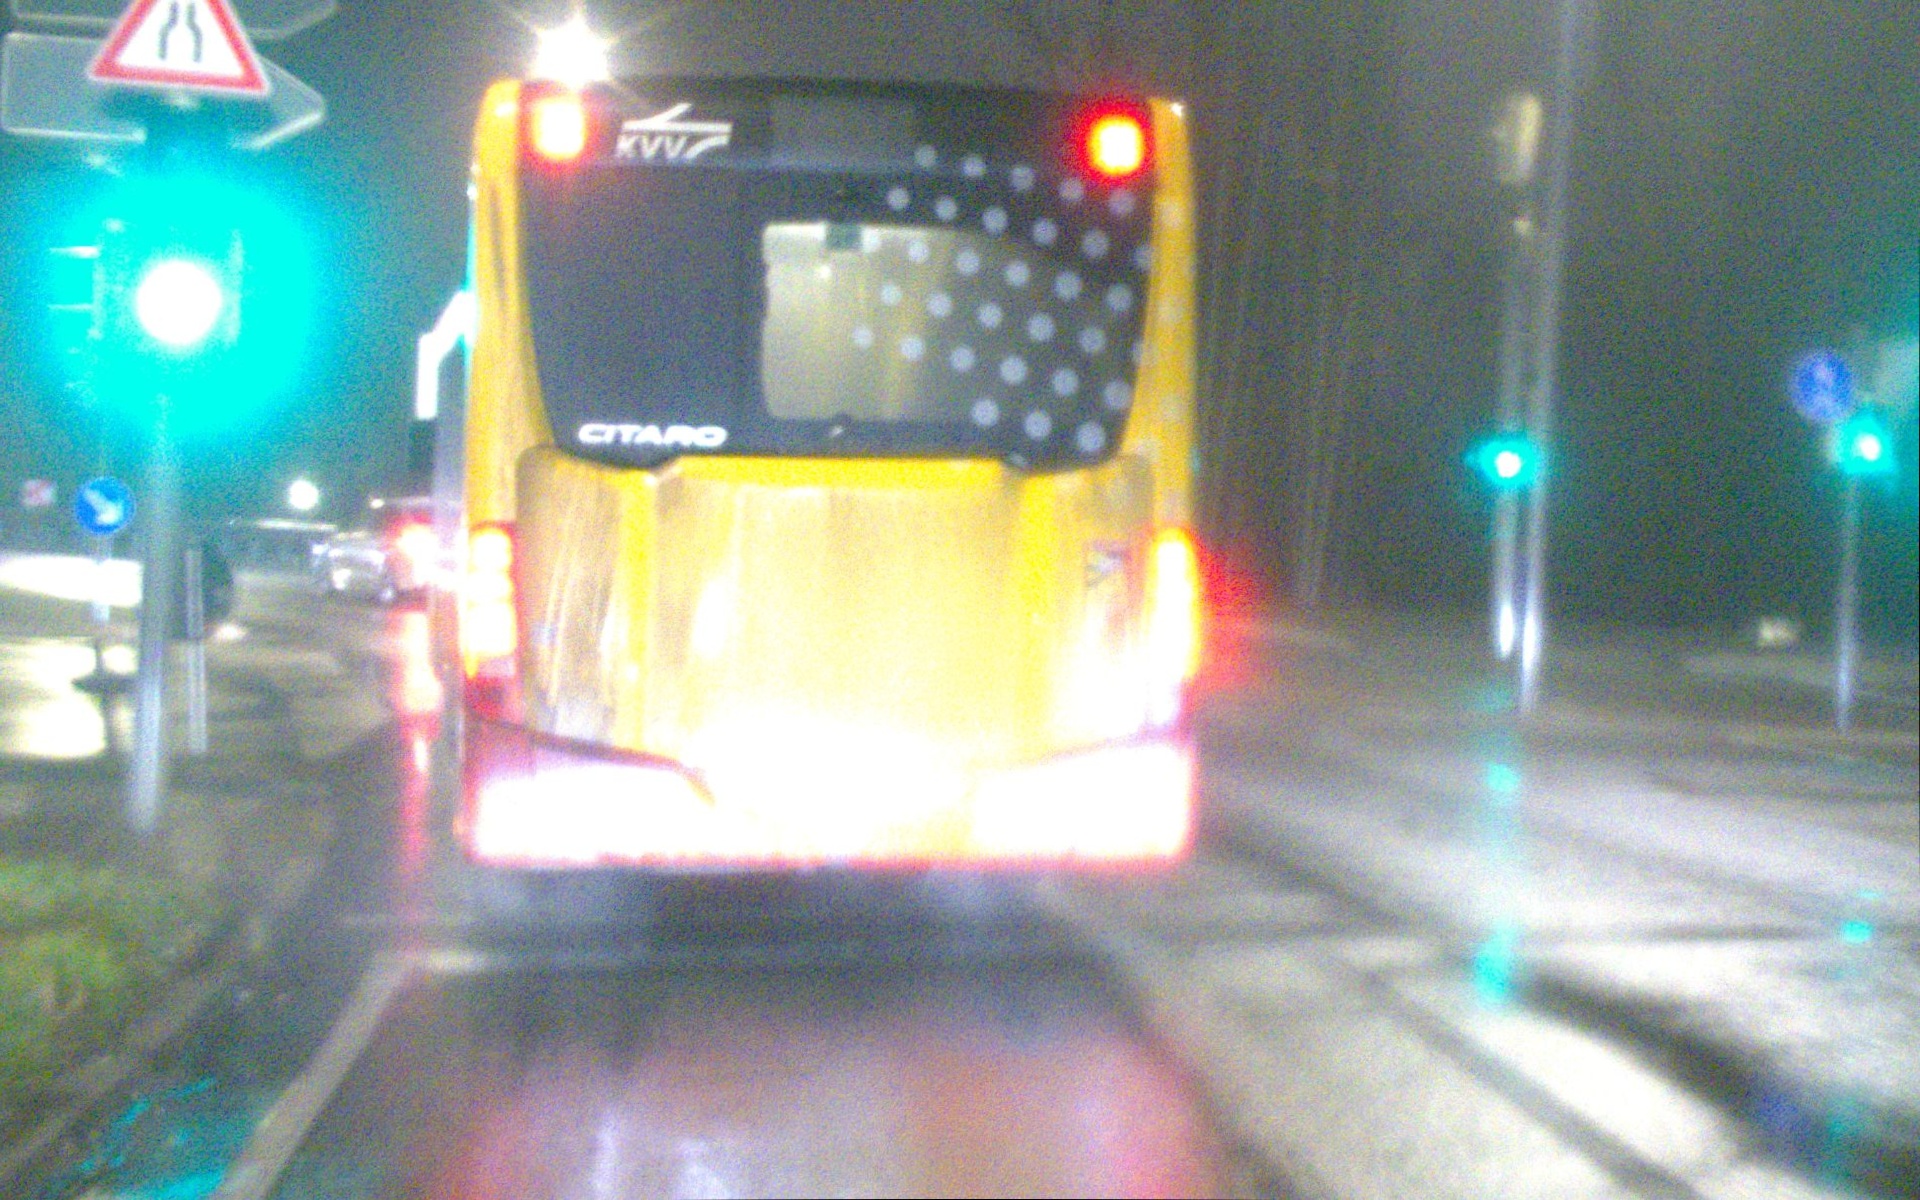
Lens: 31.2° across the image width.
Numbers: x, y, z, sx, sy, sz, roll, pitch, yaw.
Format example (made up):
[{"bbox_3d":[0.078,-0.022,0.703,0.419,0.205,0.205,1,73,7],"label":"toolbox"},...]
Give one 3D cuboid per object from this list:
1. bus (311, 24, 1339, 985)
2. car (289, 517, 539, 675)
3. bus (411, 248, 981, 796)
[{"bbox_3d":[-0.927,-0.354,15.792,3.284,3.040,9.545,-1,1,-6],"label":"bus"},{"bbox_3d":[-7.569,-0.089,47.364,1.993,2.007,4.349,3,0,-28],"label":"car"},{"bbox_3d":[-2.252,-0.617,24.958,3.246,3.109,8.648,3,2,-9],"label":"bus"}]
